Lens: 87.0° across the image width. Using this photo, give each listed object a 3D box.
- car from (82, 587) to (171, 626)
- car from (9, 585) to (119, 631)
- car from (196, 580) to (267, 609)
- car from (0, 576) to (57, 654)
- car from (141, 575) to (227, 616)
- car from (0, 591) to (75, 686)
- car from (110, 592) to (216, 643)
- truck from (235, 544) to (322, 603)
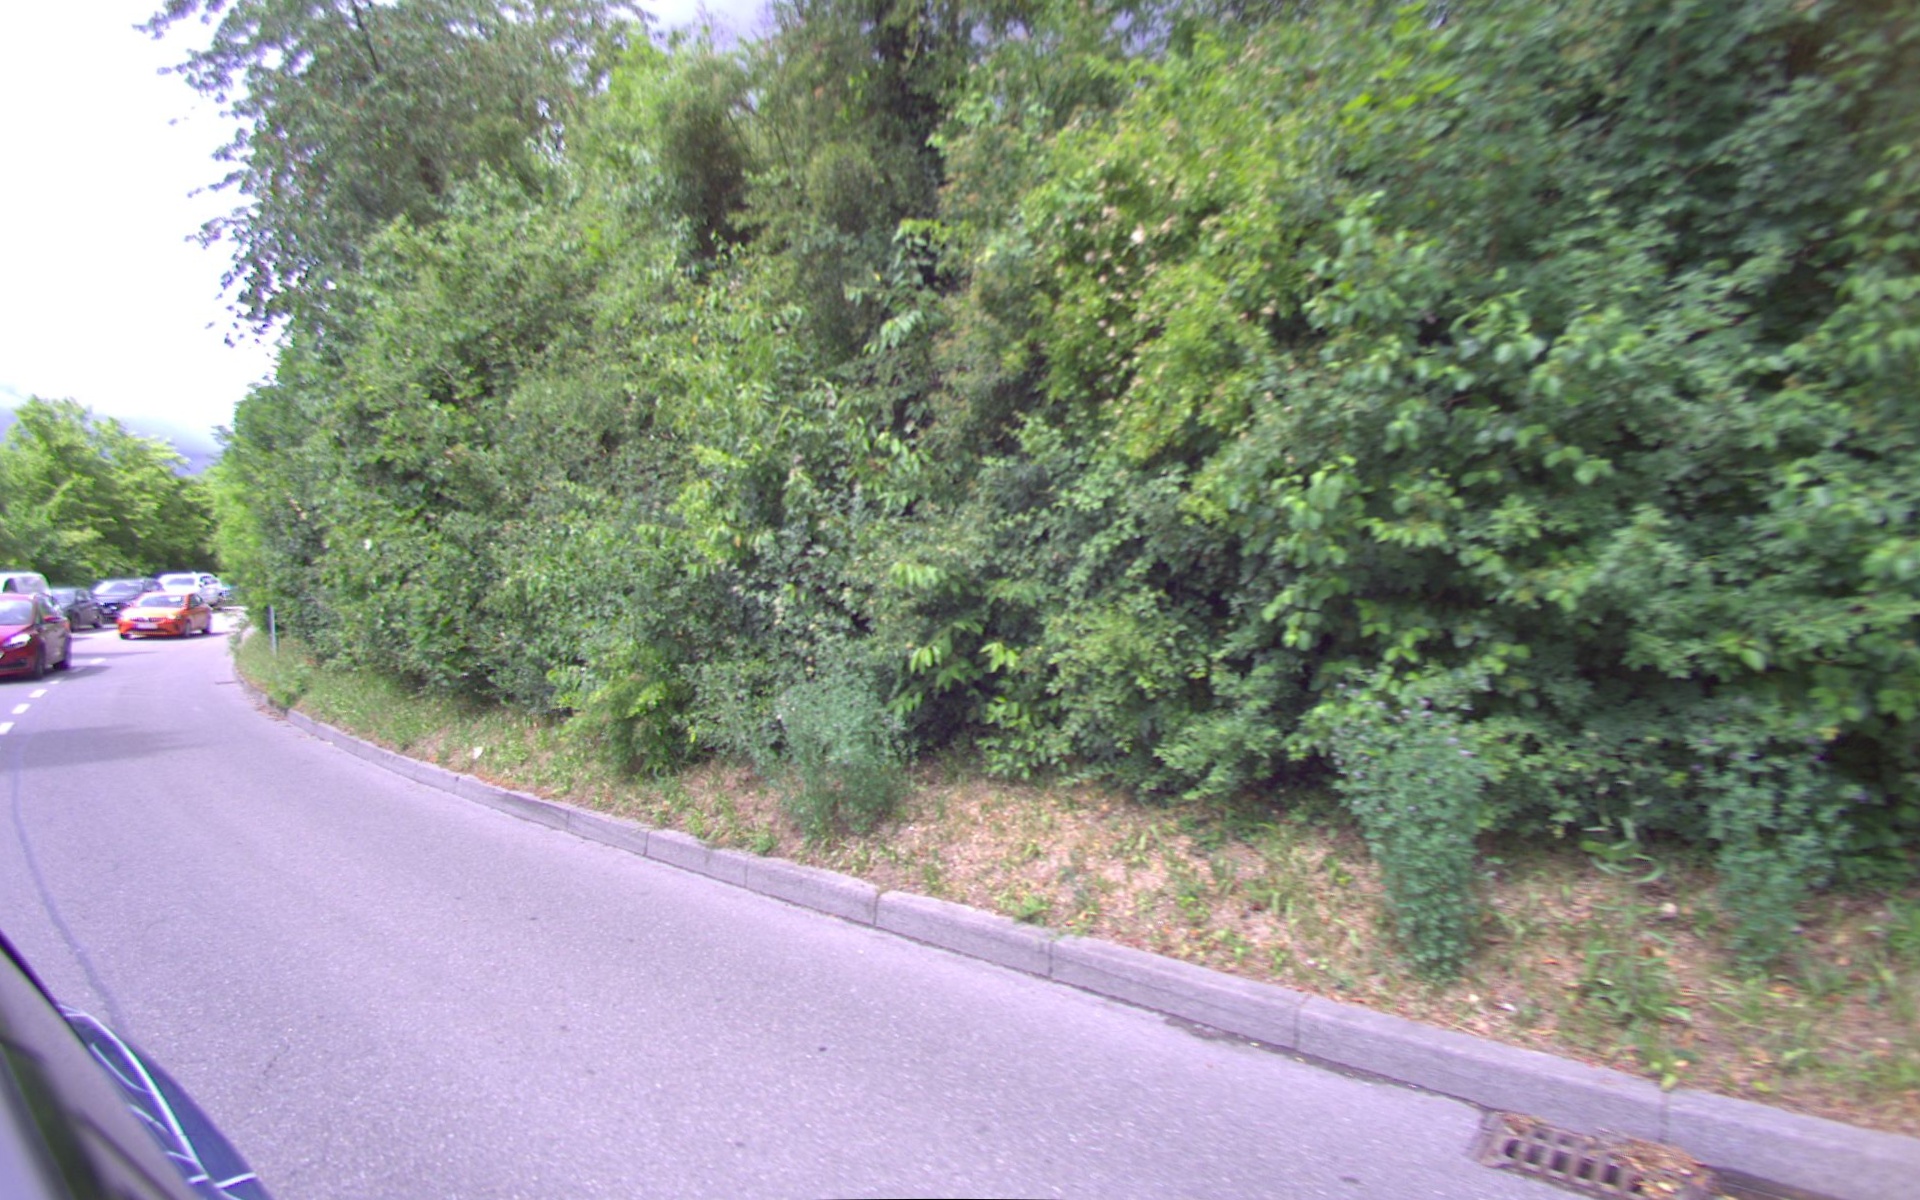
[{"bbox_3d":[-32.120,0.220,39.103,1.766,1.423,4.119,-1,1,-27],"label":"car"},{"bbox_3d":[-30.077,0.246,34.117,1.766,1.423,4.119,-1,1,-27],"label":"car"},{"bbox_3d":[-36.881,-0.294,51.335,1.766,1.393,4.118,-1,1,-18],"label":"car"},{"bbox_3d":[-27.092,0.401,27.976,1.839,2.074,5.445,-1,1,-27],"label":"car"},{"bbox_3d":[-34.515,-0.191,45.153,1.766,1.726,4.118,-1,1,-18],"label":"car"},{"bbox_3d":[-18.862,0.672,19.695,1.881,1.711,4.399,1,0,-34],"label":"car"},{"bbox_3d":[-25.535,0.515,32.575,1.766,1.423,4.127,0,2,-25],"label":"car"},{"bbox_3d":[-38.748,-1.444,57.755,2.188,3.166,6.165,-1,1,-15],"label":"truck"}]
